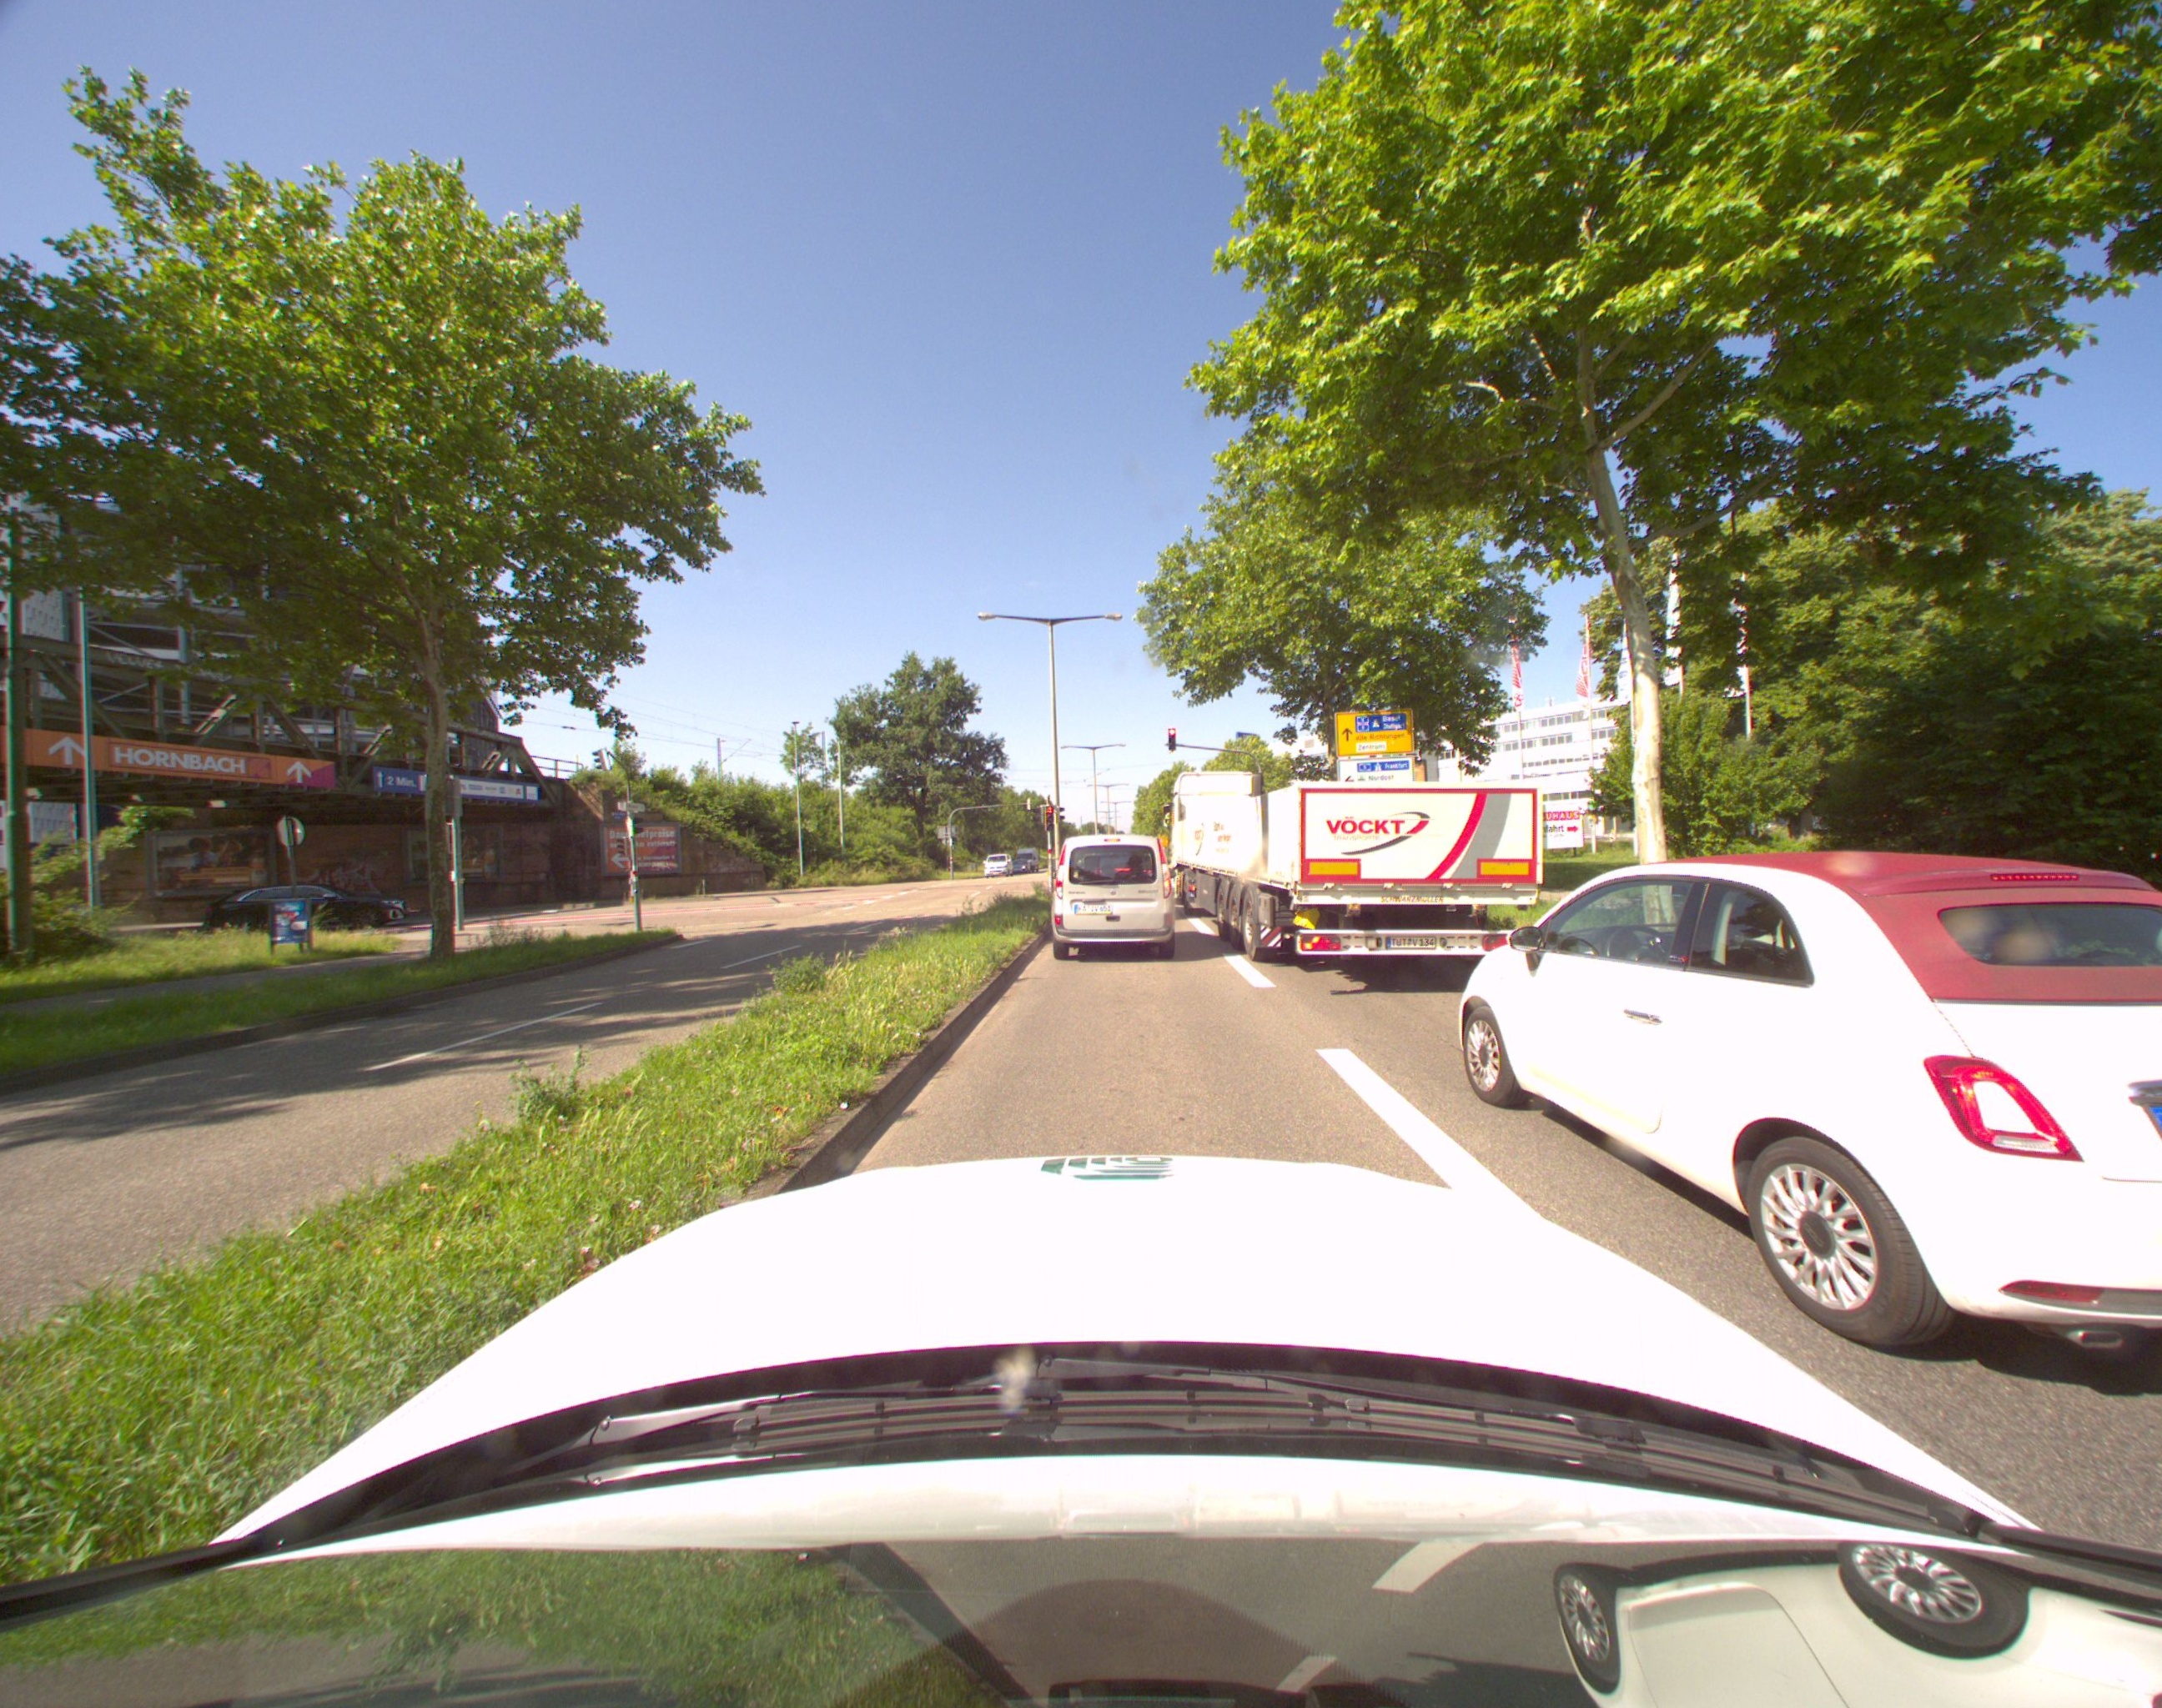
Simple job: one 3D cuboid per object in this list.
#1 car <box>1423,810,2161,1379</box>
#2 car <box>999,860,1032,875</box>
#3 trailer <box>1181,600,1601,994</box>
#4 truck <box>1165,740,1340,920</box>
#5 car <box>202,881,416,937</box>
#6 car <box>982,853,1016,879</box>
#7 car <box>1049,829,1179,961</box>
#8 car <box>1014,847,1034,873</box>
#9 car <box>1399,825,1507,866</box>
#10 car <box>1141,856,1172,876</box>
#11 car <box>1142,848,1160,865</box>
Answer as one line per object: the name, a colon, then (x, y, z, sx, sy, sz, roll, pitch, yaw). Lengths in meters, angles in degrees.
car: (3.078, 0.611, 3.810, 1.654, 1.436, 3.523, -1, 0, 4)
car: (-6.484, 1.313, 79.980, 1.920, 1.409, 4.193, -1, 0, -25)
trailer: (3.714, -0.516, 13.951, 3.004, 3.740, 12.248, -1, 0, 3)
truck: (4.019, -0.496, 20.986, 3.060, 3.758, 7.478, -1, 0, 1)
car: (-25.922, 1.783, 27.626, 5.074, 1.596, 1.510, -1, -1, -35)
car: (-6.696, 0.975, 67.077, 1.986, 1.891, 4.989, -4, 0, 1)
car: (0.516, 0.571, 13.096, 1.742, 1.772, 3.951, -1, 0, 2)
car: (-6.111, 0.638, 87.794, 2.055, 2.614, 5.861, -1, 0, -4)
car: (16.265, -0.349, 35.776, 3.965, 1.662, 1.727, -1, 0, 7)
car: (6.222, 0.986, 67.720, 1.989, 1.640, 3.995, -1, 0, -3)
car: (8.594, 0.255, 99.818, 1.986, 2.014, 4.001, -1, 0, 2)
